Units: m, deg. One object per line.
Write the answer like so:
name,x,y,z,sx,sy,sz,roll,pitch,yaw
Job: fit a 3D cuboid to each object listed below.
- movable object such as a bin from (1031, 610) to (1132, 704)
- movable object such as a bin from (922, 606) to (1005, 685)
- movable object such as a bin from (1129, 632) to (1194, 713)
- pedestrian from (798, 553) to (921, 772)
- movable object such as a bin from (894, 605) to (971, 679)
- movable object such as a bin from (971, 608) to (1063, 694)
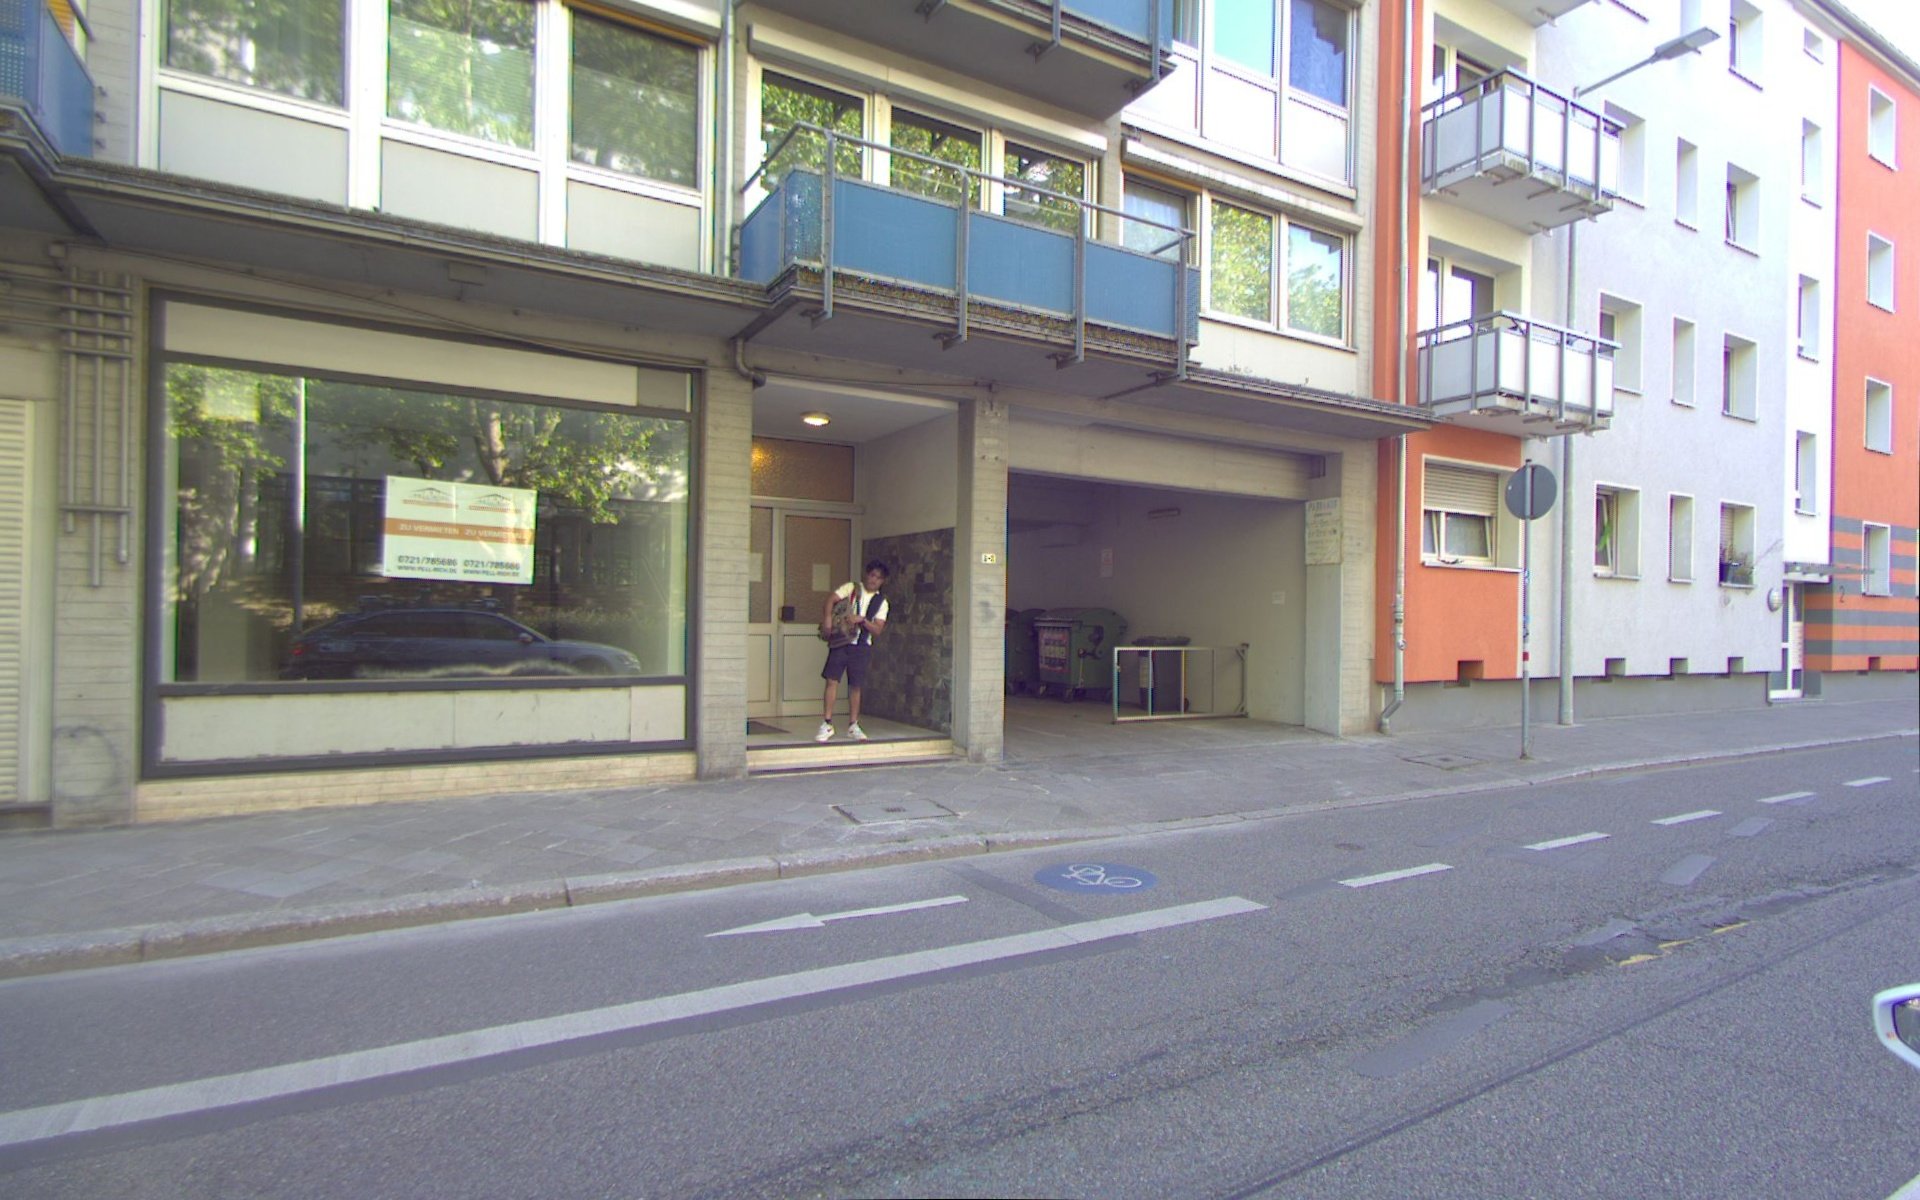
movable object such as a bin,1.902,0.869,15.816,1.066,1.384,1.192,2,0,-27
movable object such as a bin,0.049,0.827,18.699,1.066,1.384,1.255,2,0,-27
movable object such as a bin,2.902,1.028,14.465,0.650,1.115,0.626,2,0,-27
pedestrian,-0.935,0.555,9.258,0.882,1.902,0.703,2,0,-28
movable object such as a bin,-0.559,0.814,19.868,1.066,1.384,1.255,2,0,-27
movable object such as a bin,0.960,0.847,17.130,1.066,1.384,1.255,2,0,-27
